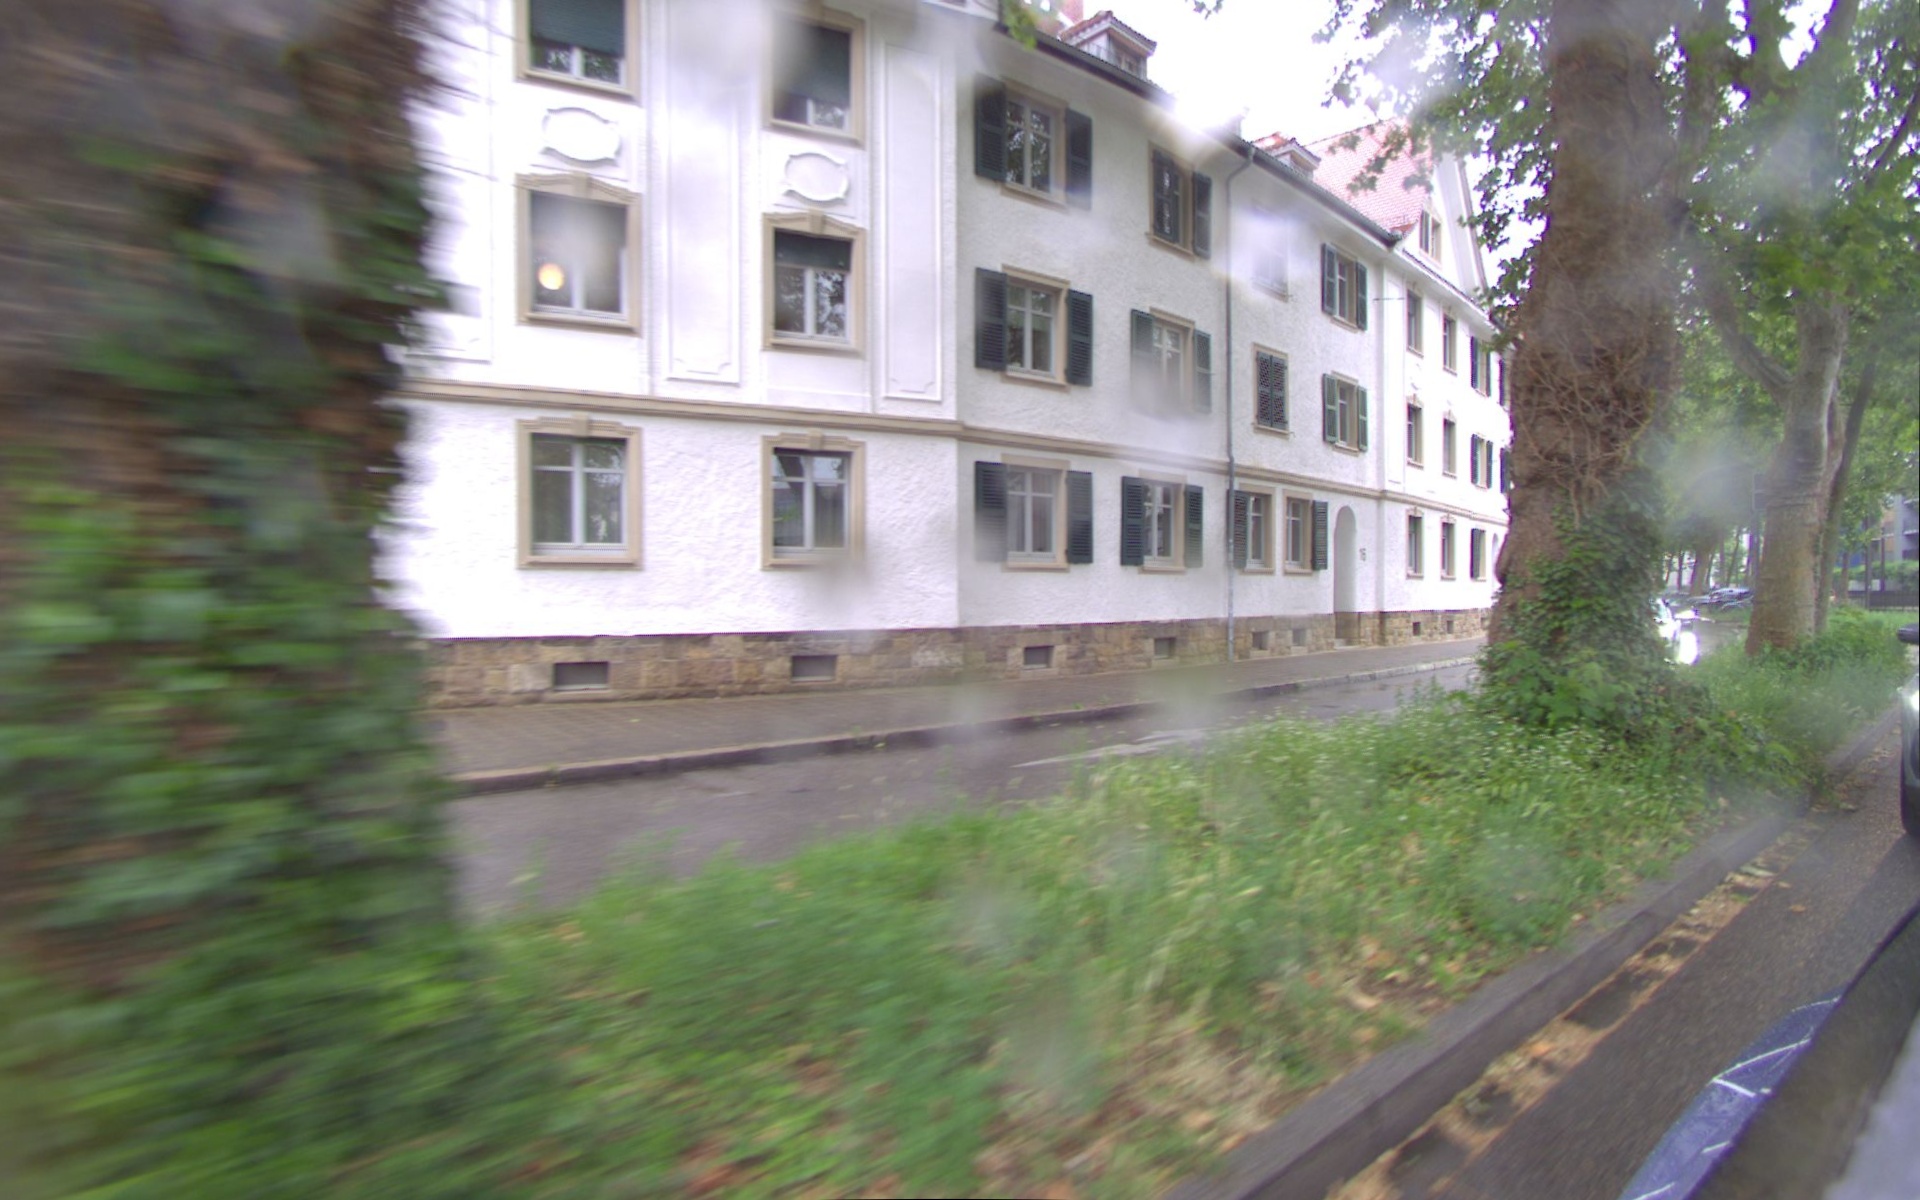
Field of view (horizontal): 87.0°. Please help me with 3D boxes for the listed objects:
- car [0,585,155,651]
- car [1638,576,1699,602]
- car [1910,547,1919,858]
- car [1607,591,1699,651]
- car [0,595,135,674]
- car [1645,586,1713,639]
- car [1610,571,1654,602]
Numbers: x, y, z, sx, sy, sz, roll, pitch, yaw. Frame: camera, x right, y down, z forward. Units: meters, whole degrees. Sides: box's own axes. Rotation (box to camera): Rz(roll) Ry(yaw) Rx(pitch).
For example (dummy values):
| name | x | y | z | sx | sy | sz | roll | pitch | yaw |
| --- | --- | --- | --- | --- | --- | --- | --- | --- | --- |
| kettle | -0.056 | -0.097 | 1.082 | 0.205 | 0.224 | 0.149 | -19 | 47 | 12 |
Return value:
| name | x | y | z | sx | sy | sz | roll | pitch | yaw |
| --- | --- | --- | --- | --- | --- | --- | --- | --- | --- |
| car | -23.668 | 0.440 | 26.951 | 3.196 | 1.629 | 1.637 | -1 | 1 | -28 |
| car | 57.969 | -0.905 | 82.900 | 3.968 | 2.039 | 1.978 | 0 | 0 | 32 |
| car | 7.206 | 0.519 | 6.142 | 4.040 | 1.662 | 1.913 | -1 | 1 | -44 |
| car | 20.132 | 0.557 | 29.337 | 1.824 | 1.544 | 3.943 | 0 | 1 | 40 |
| car | -18.350 | 0.649 | 19.295 | 3.740 | 1.400 | 1.754 | -1 | 1 | -27 |
| car | 31.232 | 0.488 | 44.047 | 1.986 | 2.037 | 3.955 | 6 | 4 | 32 |
| car | 47.358 | -0.980 | 71.373 | 1.982 | 2.037 | 3.962 | 5 | 4 | 27 |
